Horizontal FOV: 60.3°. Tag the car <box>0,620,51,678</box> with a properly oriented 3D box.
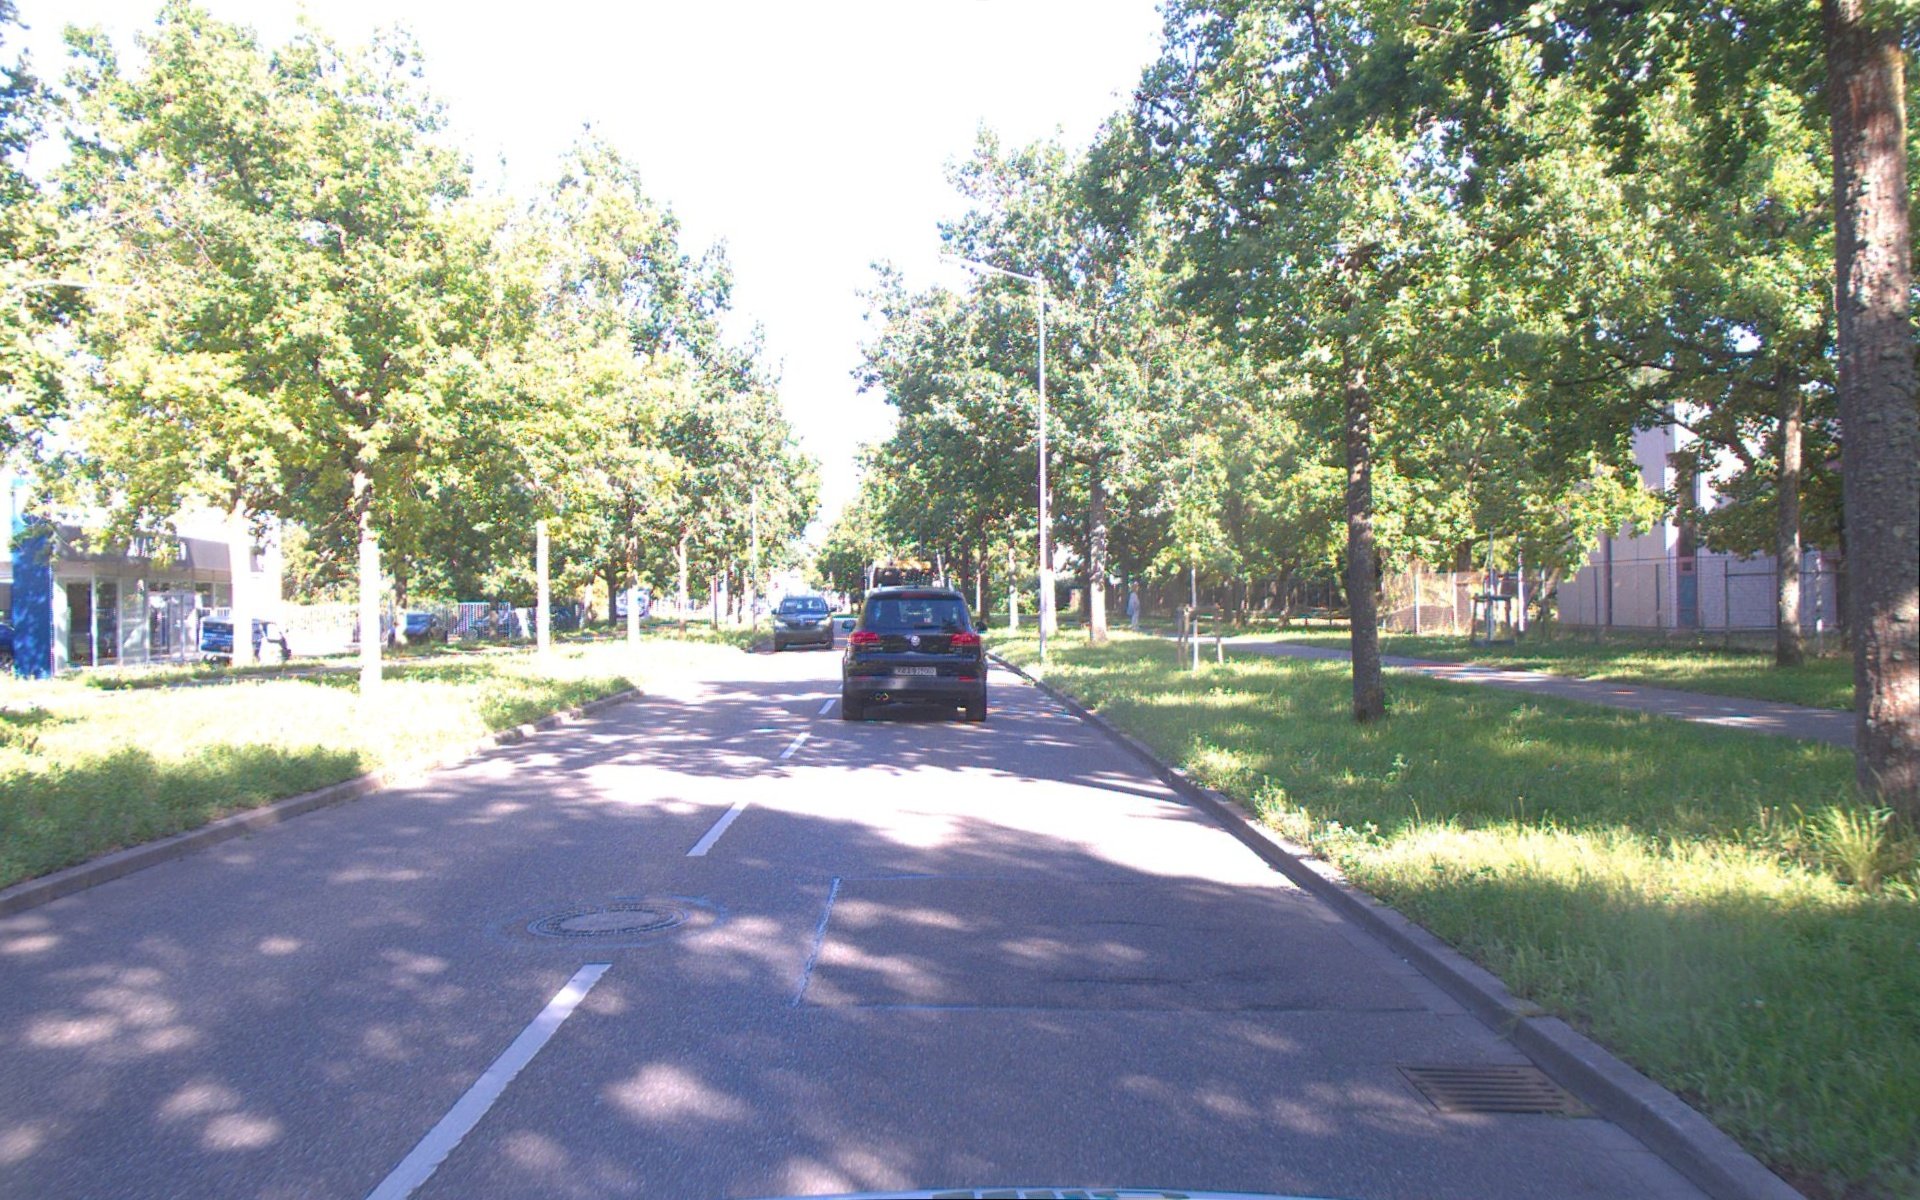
[{"bbox_3d":[-30.646,1.541,50.014,1.959,1.689,5.242,0,1,35],"label":"car"}]

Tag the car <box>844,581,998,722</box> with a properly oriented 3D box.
[{"bbox_3d":[-0.603,0.626,21.766,1.747,1.662,3.996,1,0,-5],"label":"car"}]

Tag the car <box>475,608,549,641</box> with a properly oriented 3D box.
[{"bbox_3d":[-25.604,1.395,94.669,3.916,1.833,1.995,1,0,-11],"label":"car"}]

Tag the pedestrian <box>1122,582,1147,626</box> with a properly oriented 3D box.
[{"bbox_3d":[6.789,0.158,64.292,0.703,1.659,0.609,-3,0,26],"label":"pedestrian"}]

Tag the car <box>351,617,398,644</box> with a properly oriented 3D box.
[{"bbox_3d":[-36.972,1.891,104.543,1.957,1.594,4.873,1,0,-10],"label":"car"}]

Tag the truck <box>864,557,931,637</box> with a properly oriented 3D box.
[{"bbox_3d":[-2.846,-0.118,72.863,2.463,3.300,8.142,-1,0,-5],"label":"truck"}]

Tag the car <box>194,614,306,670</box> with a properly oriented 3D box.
[{"bbox_3d":[-19.851,1.164,46.257,2.512,1.495,1.427,-1,0,14],"label":"car"}]

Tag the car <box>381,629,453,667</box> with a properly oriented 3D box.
[{"bbox_3d":[-24.905,2.185,76.039,1.954,1.626,5.010,1,0,-5],"label":"car"}]

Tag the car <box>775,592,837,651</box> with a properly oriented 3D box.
[{"bbox_3d":[-4.776,0.644,51.736,1.732,1.701,4.196,-2,0,-3],"label":"car"}]
